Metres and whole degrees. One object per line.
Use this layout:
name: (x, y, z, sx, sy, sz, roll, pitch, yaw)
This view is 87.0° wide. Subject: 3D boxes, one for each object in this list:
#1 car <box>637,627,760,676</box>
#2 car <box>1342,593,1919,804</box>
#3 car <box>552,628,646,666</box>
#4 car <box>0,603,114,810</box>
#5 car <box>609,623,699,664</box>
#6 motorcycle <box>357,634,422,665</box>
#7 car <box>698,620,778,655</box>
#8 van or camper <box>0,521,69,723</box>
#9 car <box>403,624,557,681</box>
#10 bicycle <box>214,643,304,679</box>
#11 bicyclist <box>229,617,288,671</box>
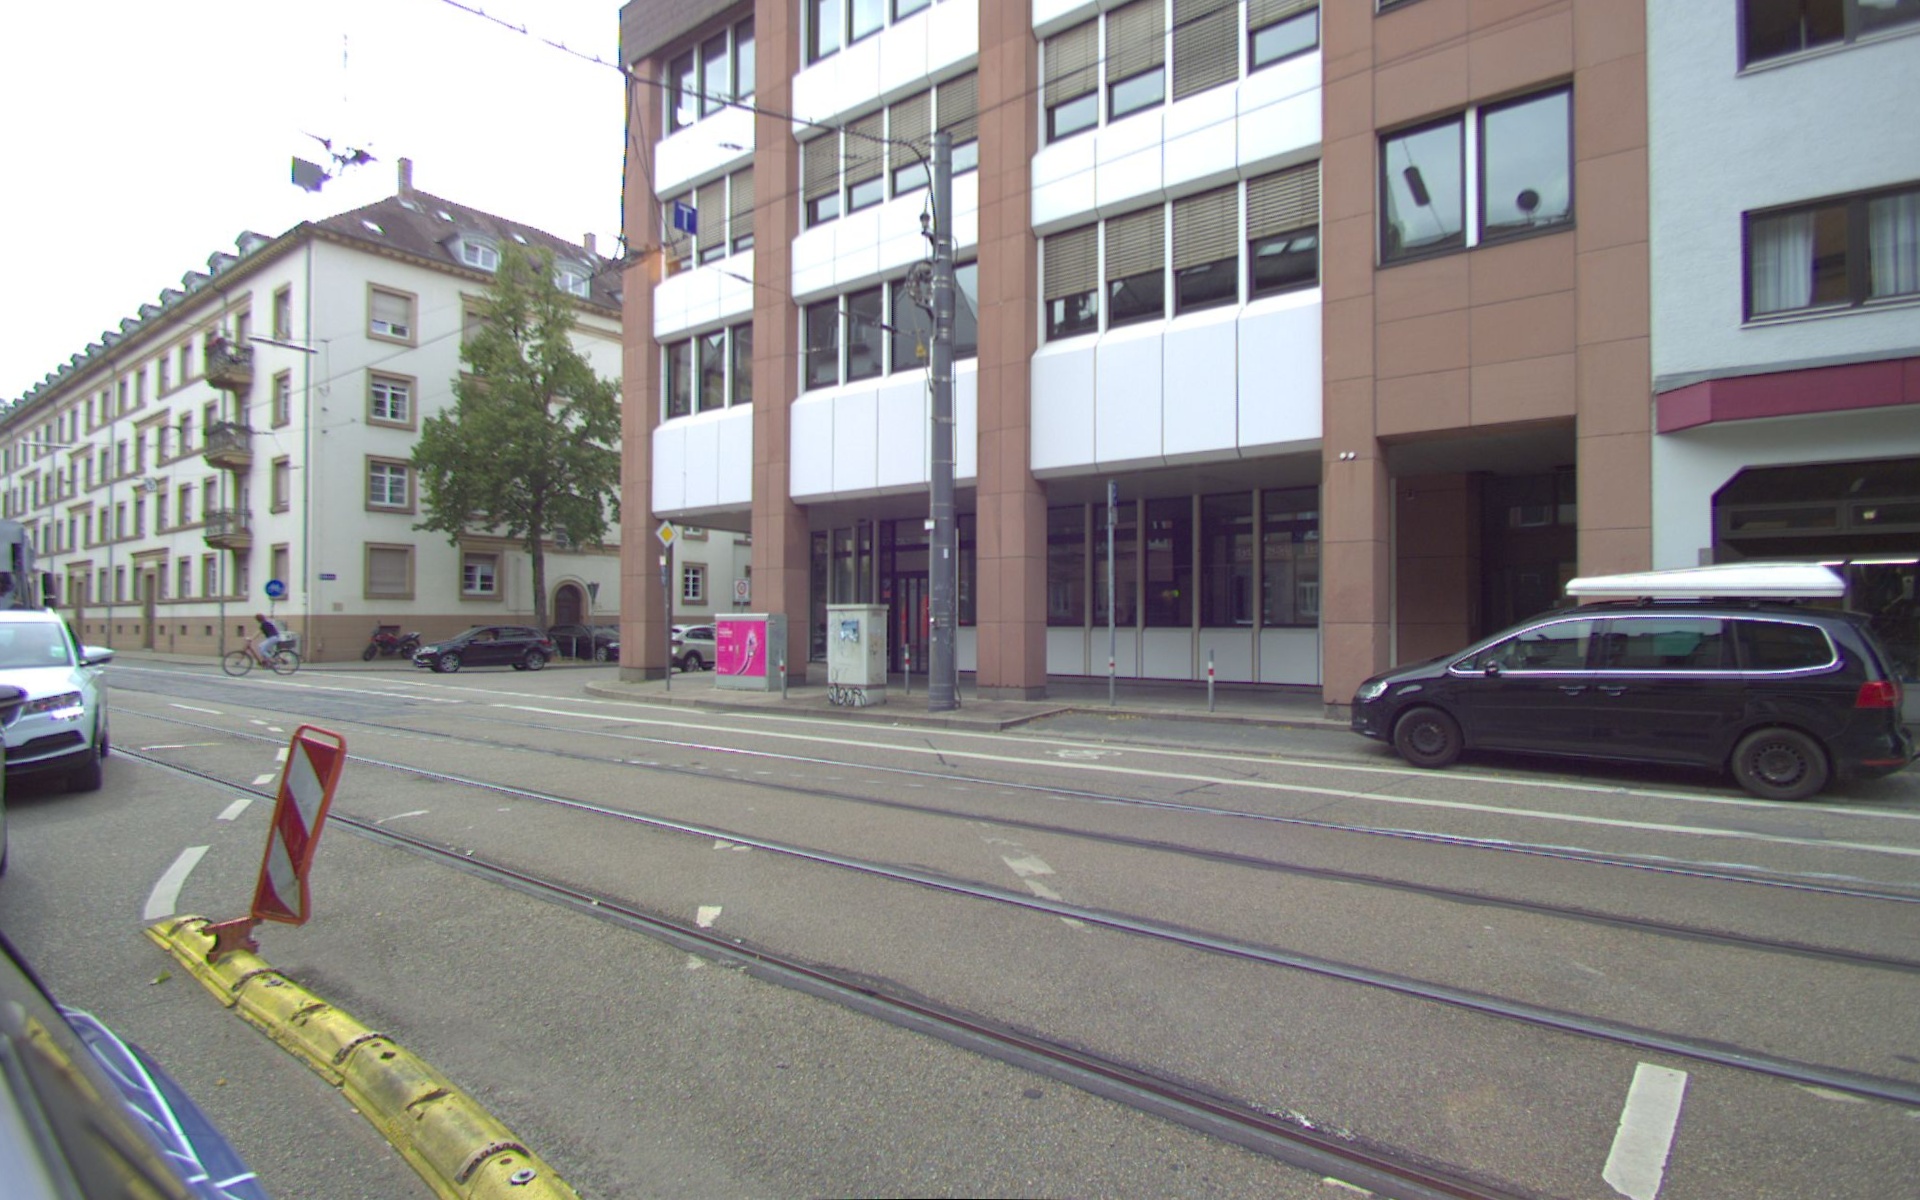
car: (-7.950, 1.535, 31.047, 1.606, 1.399, 3.611, -1, -2, 31)
car: (6.557, 0.833, 10.236, 4.694, 1.659, 1.789, -2, 0, 40)
car: (-13.807, 1.764, 38.640, 3.869, 1.407, 1.591, -1, -2, 38)
car: (-9.106, 0.881, 9.283, 1.748, 1.603, 4.285, -1, -1, -44)
car: (-12.258, 1.701, 40.437, 3.711, 1.559, 1.591, -1, -2, 38)
motorcycle: (-20.879, 1.791, 37.075, 0.792, 1.094, 1.900, -2, -2, 39)
car: (-9.852, 1.644, 44.786, 3.520, 1.473, 1.572, -1, -2, 38)
van or camper: (-20.370, 0.470, 20.009, 9.642, 3.447, 2.575, -2, -2, 39)
car: (-14.818, 1.566, 31.327, 3.985, 1.549, 1.778, -1, -1, -40)
bicycle: (-19.642, 1.705, 28.410, 1.977, 0.972, 0.675, 0, -3, -25)
bicyclist: (-19.682, 1.219, 28.421, 1.238, 1.473, 0.679, 0, -3, -25)
